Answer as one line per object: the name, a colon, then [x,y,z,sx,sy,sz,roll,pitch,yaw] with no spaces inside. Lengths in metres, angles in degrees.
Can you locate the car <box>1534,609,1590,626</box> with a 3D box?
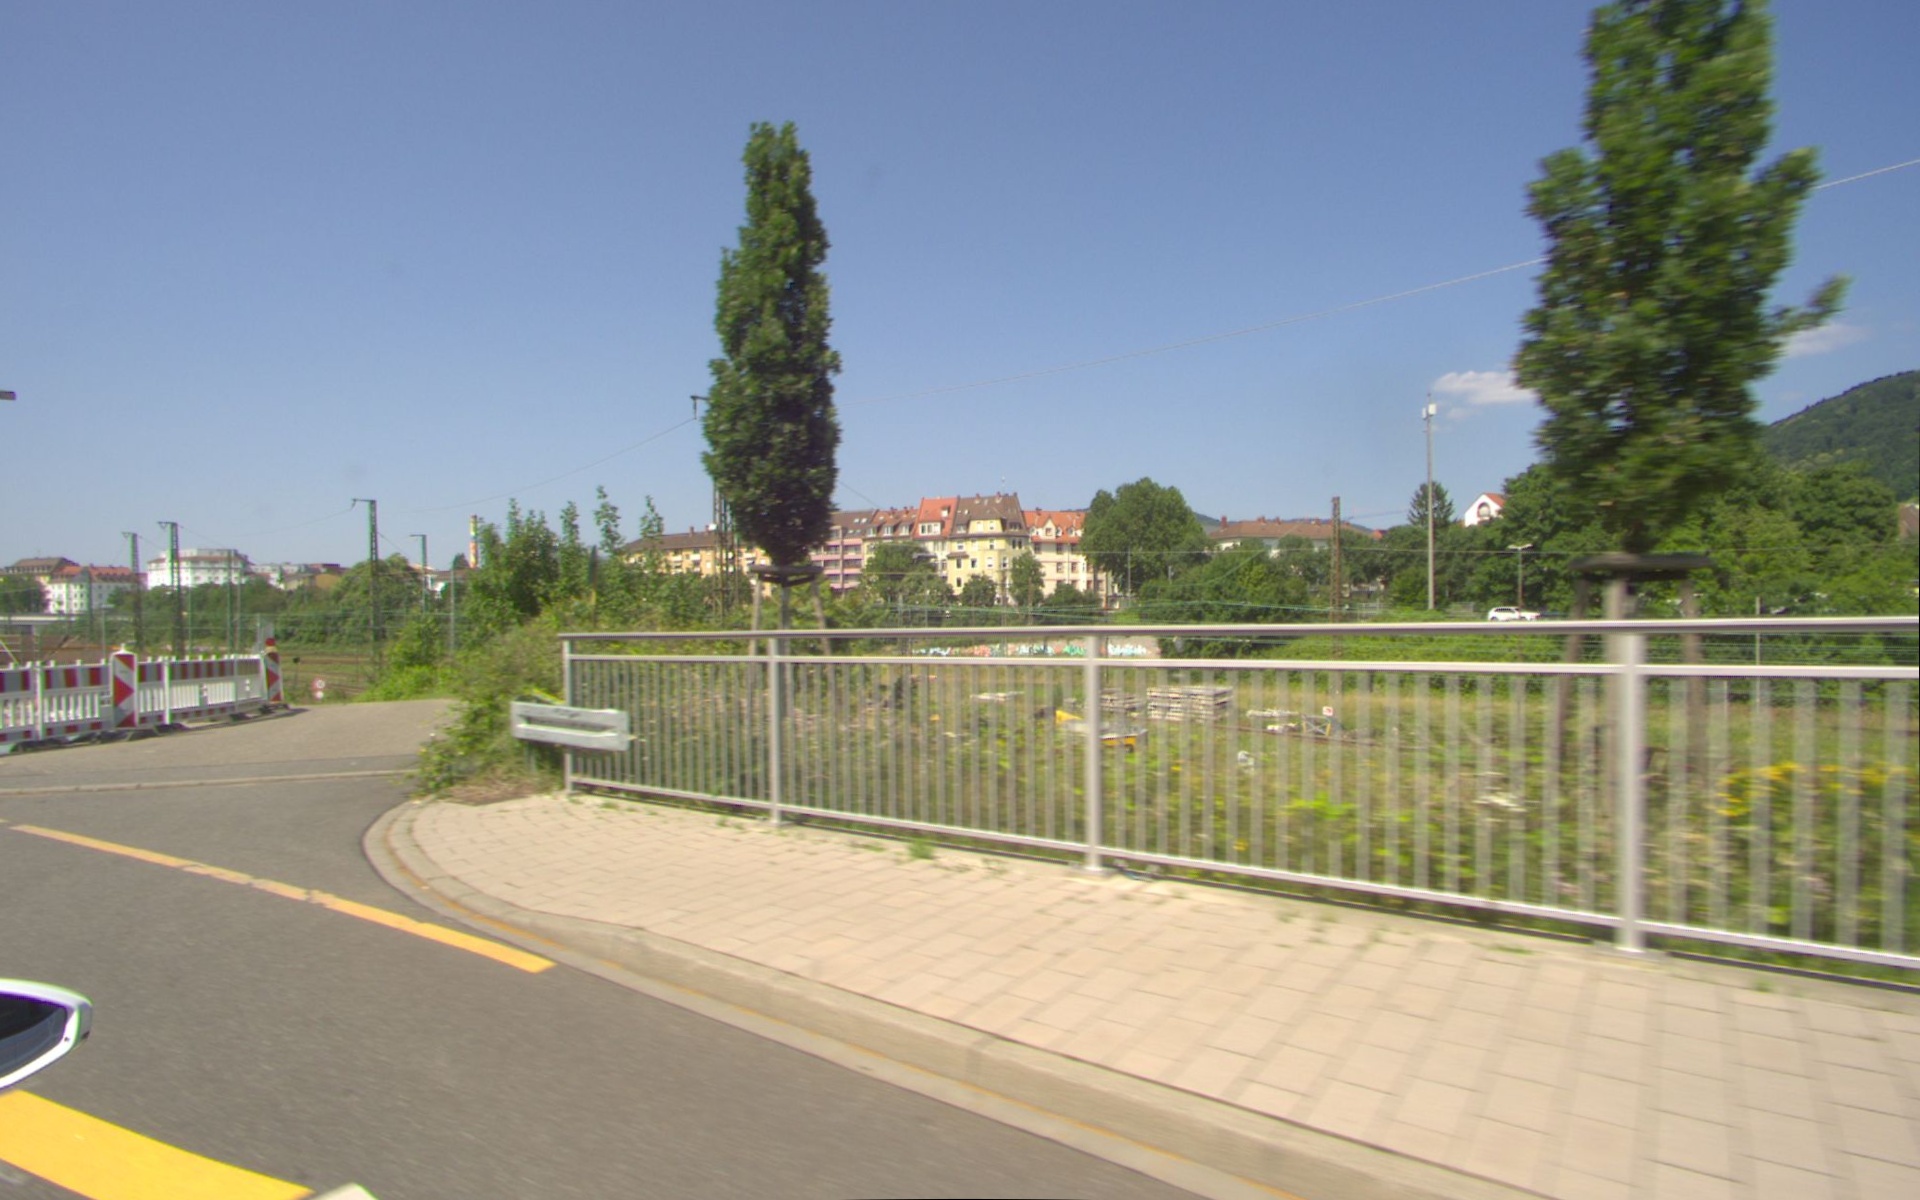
car: [51.523,1.500,85.743,1.755,1.385,3.830,-1,-1,-24]

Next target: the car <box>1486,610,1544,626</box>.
car: [49.915,1.617,90.136,1.835,1.385,4.302,-1,-1,-23]
